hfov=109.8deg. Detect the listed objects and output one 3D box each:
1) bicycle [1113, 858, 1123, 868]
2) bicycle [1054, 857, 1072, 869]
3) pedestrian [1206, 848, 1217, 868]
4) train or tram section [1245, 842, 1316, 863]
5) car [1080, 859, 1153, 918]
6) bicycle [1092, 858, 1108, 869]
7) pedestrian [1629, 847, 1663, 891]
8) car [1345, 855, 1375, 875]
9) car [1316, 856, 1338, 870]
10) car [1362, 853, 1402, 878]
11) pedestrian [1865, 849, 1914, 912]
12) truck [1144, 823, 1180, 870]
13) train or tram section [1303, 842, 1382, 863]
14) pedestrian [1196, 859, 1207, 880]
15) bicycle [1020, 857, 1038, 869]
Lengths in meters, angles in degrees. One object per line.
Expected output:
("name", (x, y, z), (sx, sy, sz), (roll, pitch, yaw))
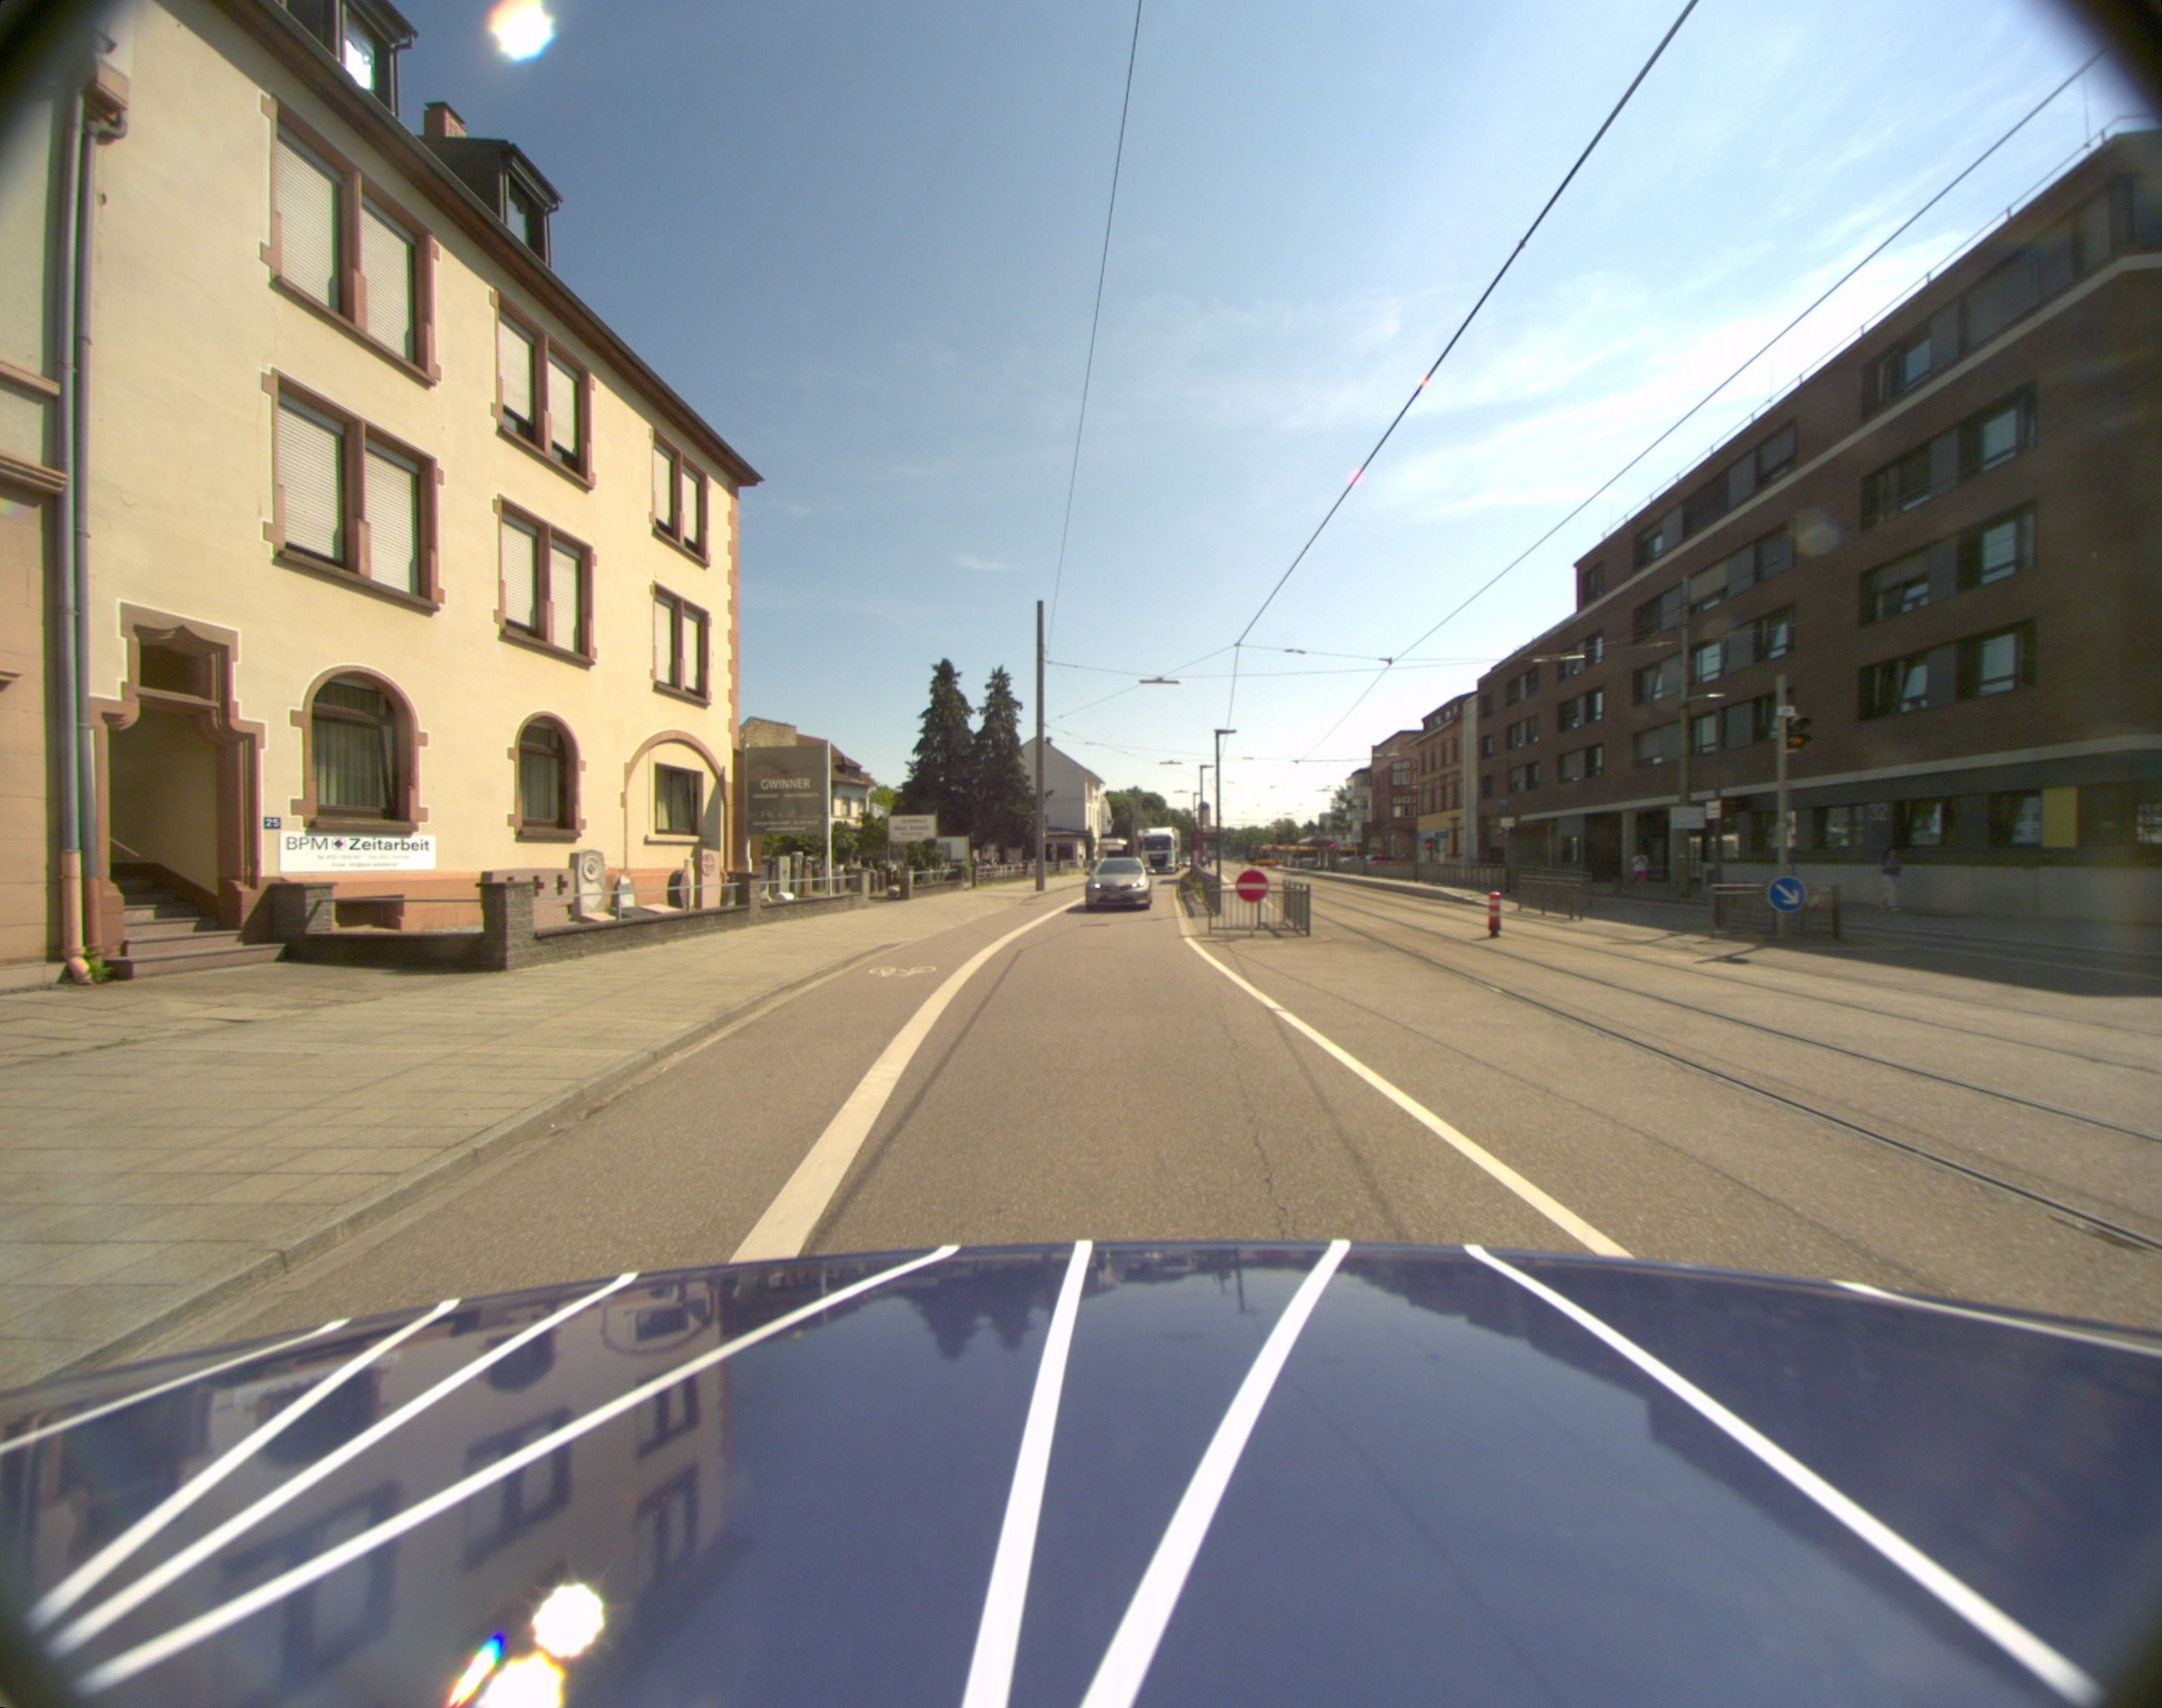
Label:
("bicycle", (4.361, 1.075, 89.209), (0.511, 1.127, 1.694), (0, 0, 26))
("bicycle", (-1.670, 0.888, 71.886), (1.685, 1.104, 0.515), (0, 0, 34))
("pedestrian", (12.566, 0.392, 73.108), (0.982, 1.847, 1.238), (0, 0, 9))
("train or tram section", (33.439, -0.255, 126.919), (13.360, 3.460, 2.682), (0, 0, -30))
("car", (1.084, 0.876, 21.183), (1.694, 1.440, 4.483), (-1, 0, 7))
("bicycle", (1.954, 1.000, 78.239), (1.529, 1.051, 0.398), (3, 1, 10))
("pedestrian", (23.447, 0.623, 31.554), (0.846, 1.808, 0.839), (0, 0, 9))
("car", (23.507, 0.907, 64.176), (1.715, 1.613, 3.581), (-1, 0, 9))
("car", (25.863, 0.942, 79.922), (1.628, 1.460, 3.869), (-1, -1, 9))
("car", (21.934, 0.813, 55.490), (1.804, 1.718, 4.192), (-2, -1, 9))
("pedestrian", (21.567, 0.693, 20.274), (0.582, 1.654, 0.700), (0, 0, 8))
("truck", (7.024, -0.599, 65.090), (2.655, 3.772, 7.869), (0, 0, 9))
("train or tram section", (45.229, -0.326, 131.447), (13.339, 3.460, 2.686), (0, 0, -9))
("pedestrian", (7.345, 0.959, 46.386), (0.630, 1.247, 0.710), (0, 0, 8))
("bicycle", (-4.989, 0.887, 72.908), (1.688, 1.104, 0.513), (1, 0, 11))
